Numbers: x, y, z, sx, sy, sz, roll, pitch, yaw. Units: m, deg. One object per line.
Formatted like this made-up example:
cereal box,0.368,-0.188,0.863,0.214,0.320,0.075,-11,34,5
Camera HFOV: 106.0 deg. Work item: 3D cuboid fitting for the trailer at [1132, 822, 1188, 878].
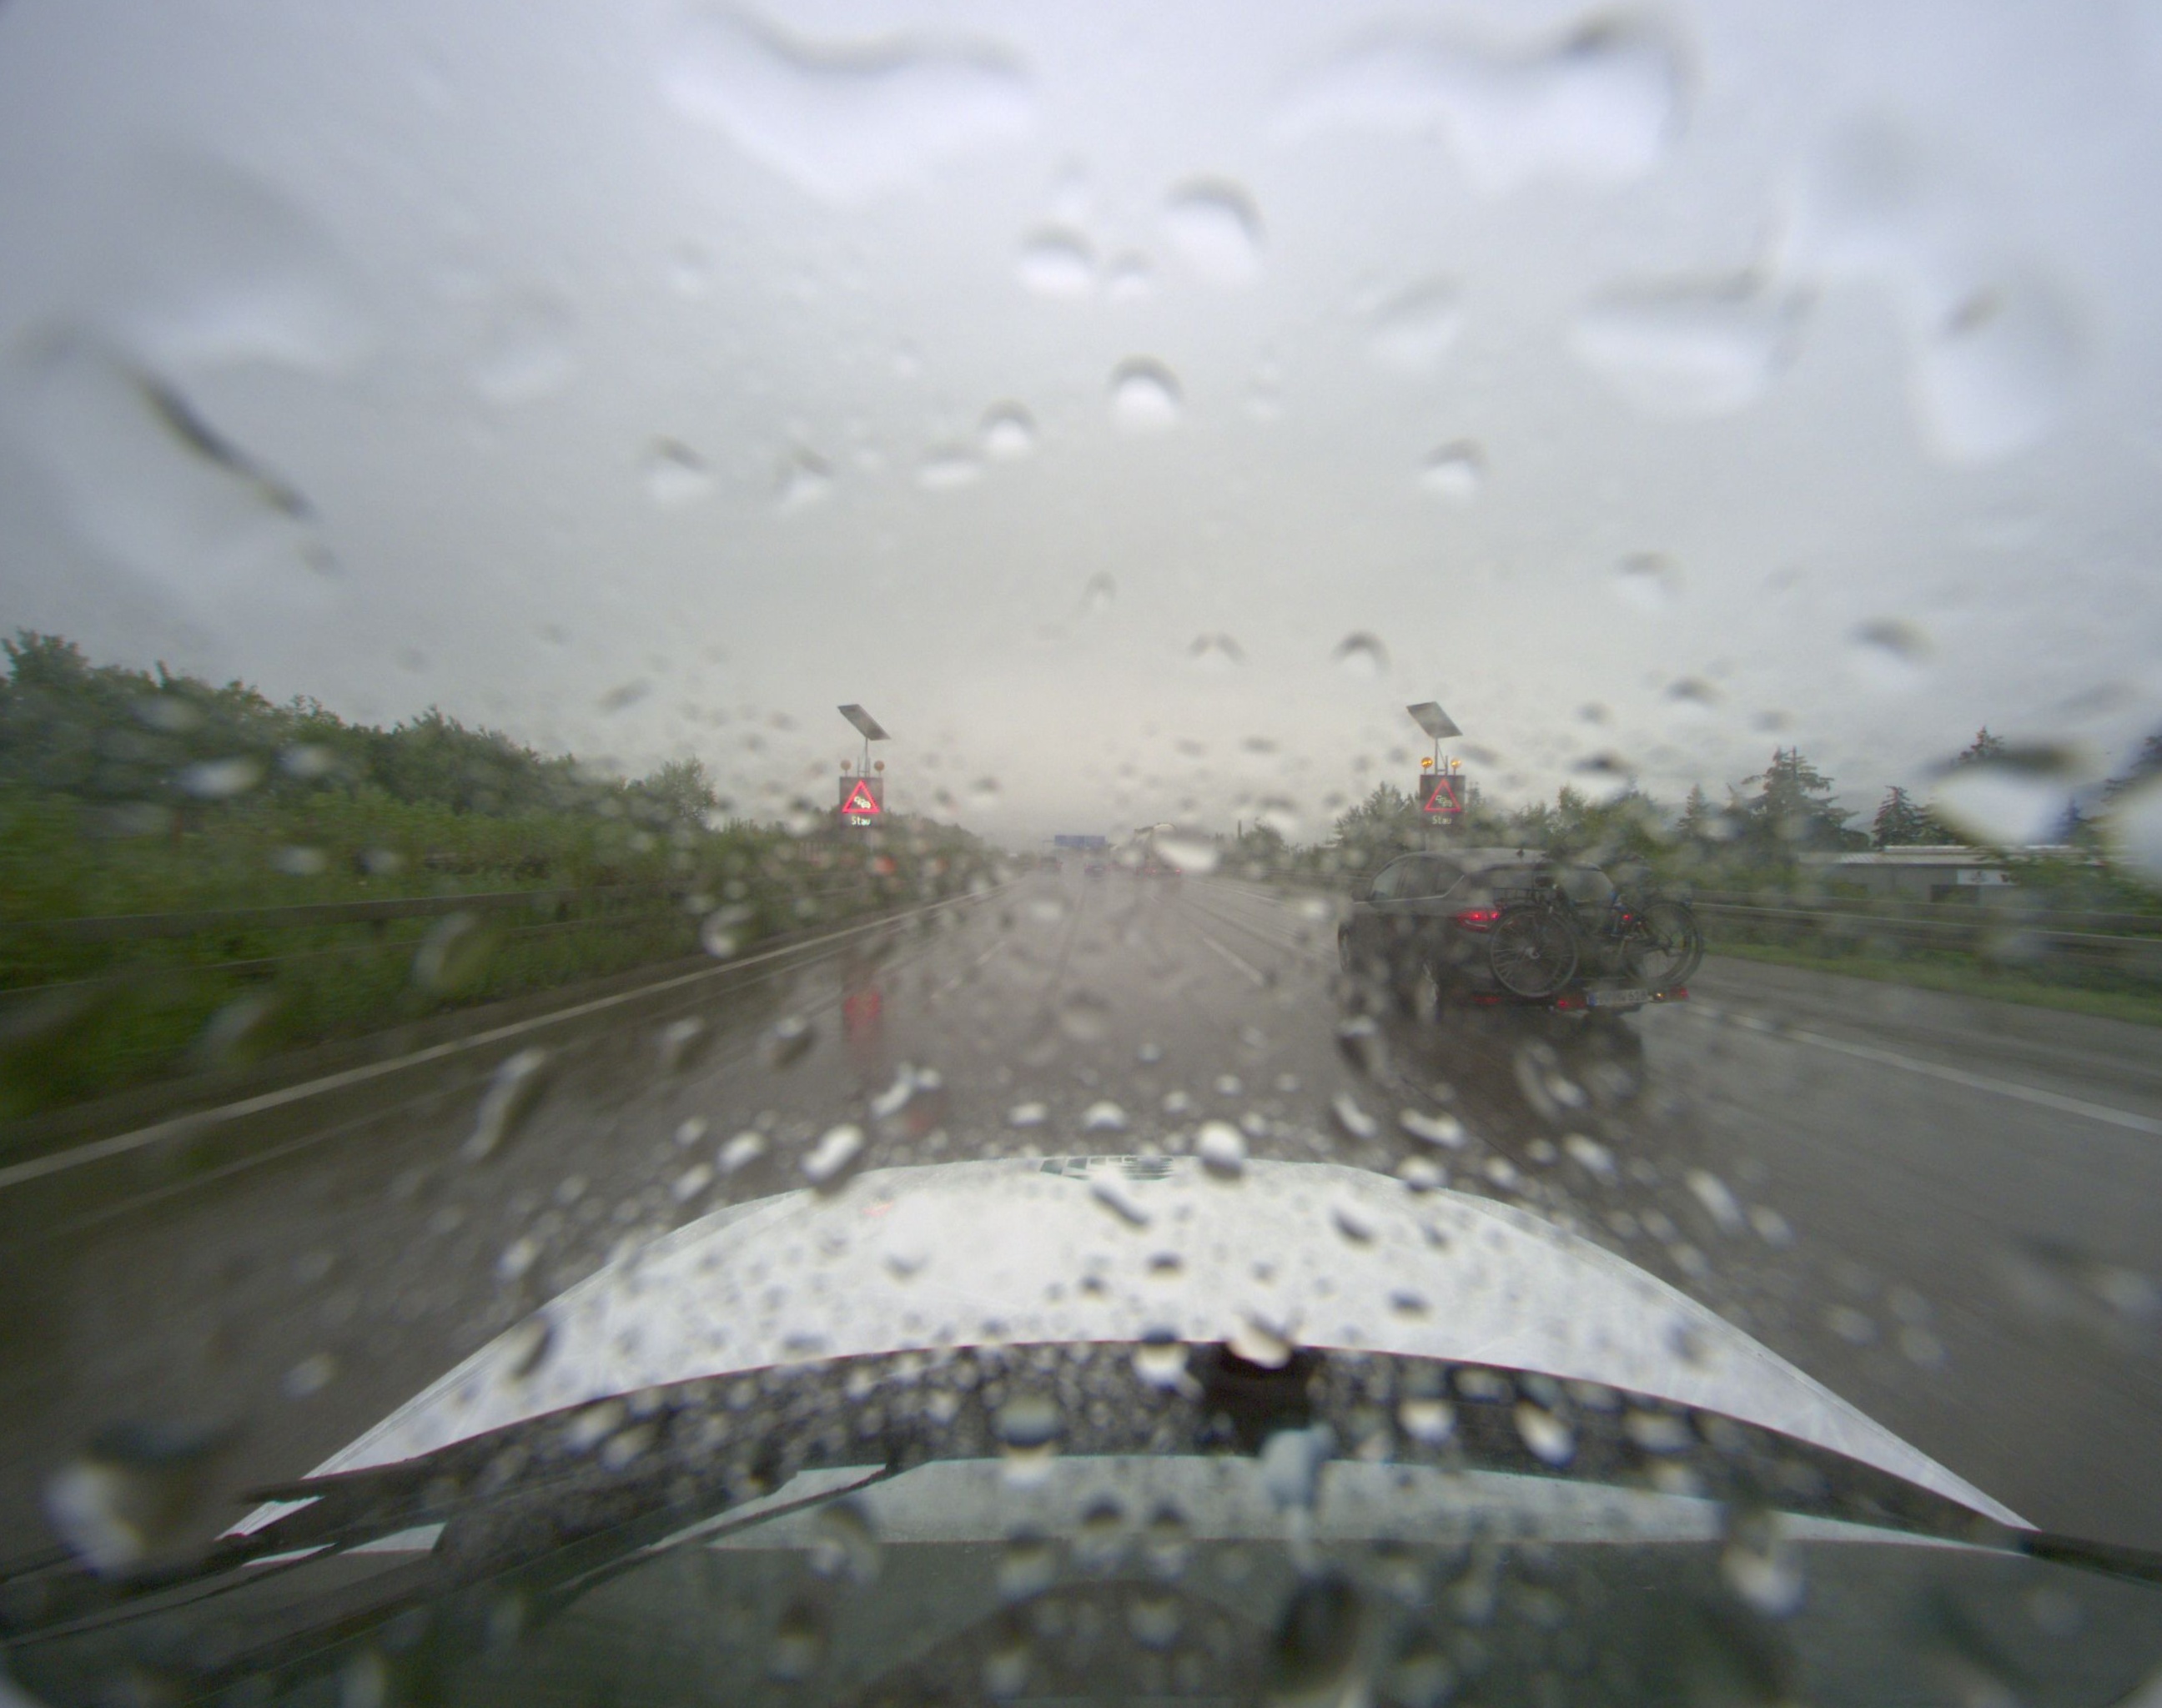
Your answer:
trailer,5.536,-0.271,59.455,3.177,3.670,11.669,-1,0,1

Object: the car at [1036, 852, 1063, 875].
car,-2.473,0.731,65.233,1.919,1.741,4.403,-1,0,0

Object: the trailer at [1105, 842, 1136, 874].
trailer,4.865,0.460,101.619,2.998,3.848,8.614,0,0,-3

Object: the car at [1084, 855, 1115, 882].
car,1.320,0.990,56.125,1.970,1.756,4.484,-1,0,2

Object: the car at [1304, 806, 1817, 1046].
car,4.290,0.539,8.844,2.447,1.746,5.724,-1,0,3

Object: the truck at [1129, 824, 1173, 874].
truck,5.662,-0.390,66.742,3.093,3.806,7.213,-1,0,1
